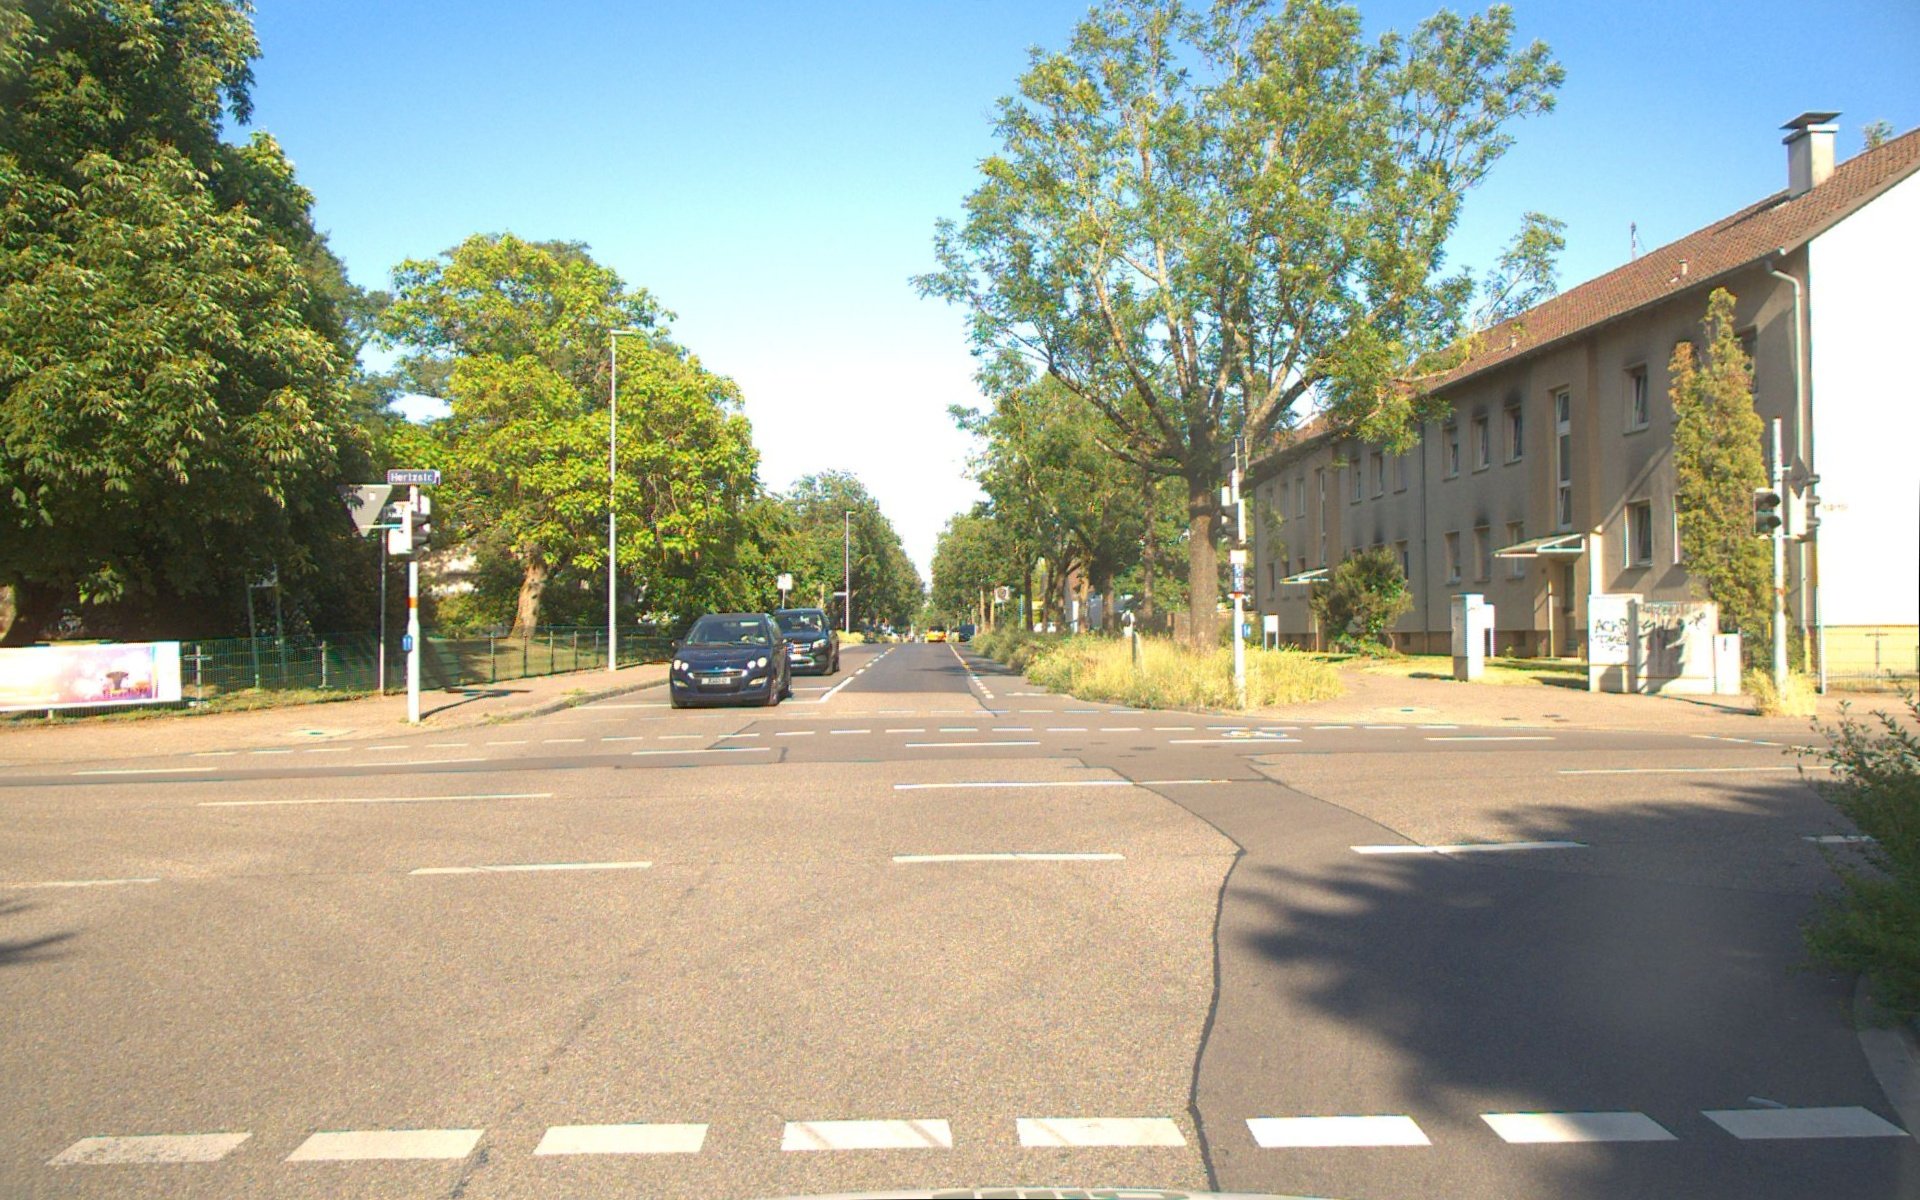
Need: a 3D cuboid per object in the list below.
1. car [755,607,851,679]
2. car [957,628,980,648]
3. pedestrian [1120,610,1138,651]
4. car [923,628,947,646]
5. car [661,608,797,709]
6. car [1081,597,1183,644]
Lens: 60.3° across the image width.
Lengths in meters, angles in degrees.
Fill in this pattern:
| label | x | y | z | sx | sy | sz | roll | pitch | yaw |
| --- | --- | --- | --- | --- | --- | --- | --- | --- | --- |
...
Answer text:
| label | x | y | z | sx | sy | sz | roll | pitch | yaw |
| --- | --- | --- | --- | --- | --- | --- | --- | --- | --- |
| car | -3.856 | 1.032 | 41.326 | 1.777 | 1.646 | 4.393 | -2 | 0 | 2 |
| car | 0.734 | 3.358 | 146.456 | 1.815 | 1.654 | 4.467 | -2 | -2 | -1 |
| pedestrian | 7.394 | 1.326 | 72.376 | 0.624 | 1.735 | 0.612 | -3 | 0 | -2 |
| car | -2.178 | 3.250 | 145.227 | 1.851 | 1.505 | 3.884 | 2 | -2 | -4 |
| car | -3.724 | 0.954 | 27.183 | 1.769 | 1.480 | 3.848 | -2 | -2 | -2 |
| car | 9.905 | 1.174 | 95.561 | 5.485 | 2.584 | 2.263 | -1 | -1 | -5 |
